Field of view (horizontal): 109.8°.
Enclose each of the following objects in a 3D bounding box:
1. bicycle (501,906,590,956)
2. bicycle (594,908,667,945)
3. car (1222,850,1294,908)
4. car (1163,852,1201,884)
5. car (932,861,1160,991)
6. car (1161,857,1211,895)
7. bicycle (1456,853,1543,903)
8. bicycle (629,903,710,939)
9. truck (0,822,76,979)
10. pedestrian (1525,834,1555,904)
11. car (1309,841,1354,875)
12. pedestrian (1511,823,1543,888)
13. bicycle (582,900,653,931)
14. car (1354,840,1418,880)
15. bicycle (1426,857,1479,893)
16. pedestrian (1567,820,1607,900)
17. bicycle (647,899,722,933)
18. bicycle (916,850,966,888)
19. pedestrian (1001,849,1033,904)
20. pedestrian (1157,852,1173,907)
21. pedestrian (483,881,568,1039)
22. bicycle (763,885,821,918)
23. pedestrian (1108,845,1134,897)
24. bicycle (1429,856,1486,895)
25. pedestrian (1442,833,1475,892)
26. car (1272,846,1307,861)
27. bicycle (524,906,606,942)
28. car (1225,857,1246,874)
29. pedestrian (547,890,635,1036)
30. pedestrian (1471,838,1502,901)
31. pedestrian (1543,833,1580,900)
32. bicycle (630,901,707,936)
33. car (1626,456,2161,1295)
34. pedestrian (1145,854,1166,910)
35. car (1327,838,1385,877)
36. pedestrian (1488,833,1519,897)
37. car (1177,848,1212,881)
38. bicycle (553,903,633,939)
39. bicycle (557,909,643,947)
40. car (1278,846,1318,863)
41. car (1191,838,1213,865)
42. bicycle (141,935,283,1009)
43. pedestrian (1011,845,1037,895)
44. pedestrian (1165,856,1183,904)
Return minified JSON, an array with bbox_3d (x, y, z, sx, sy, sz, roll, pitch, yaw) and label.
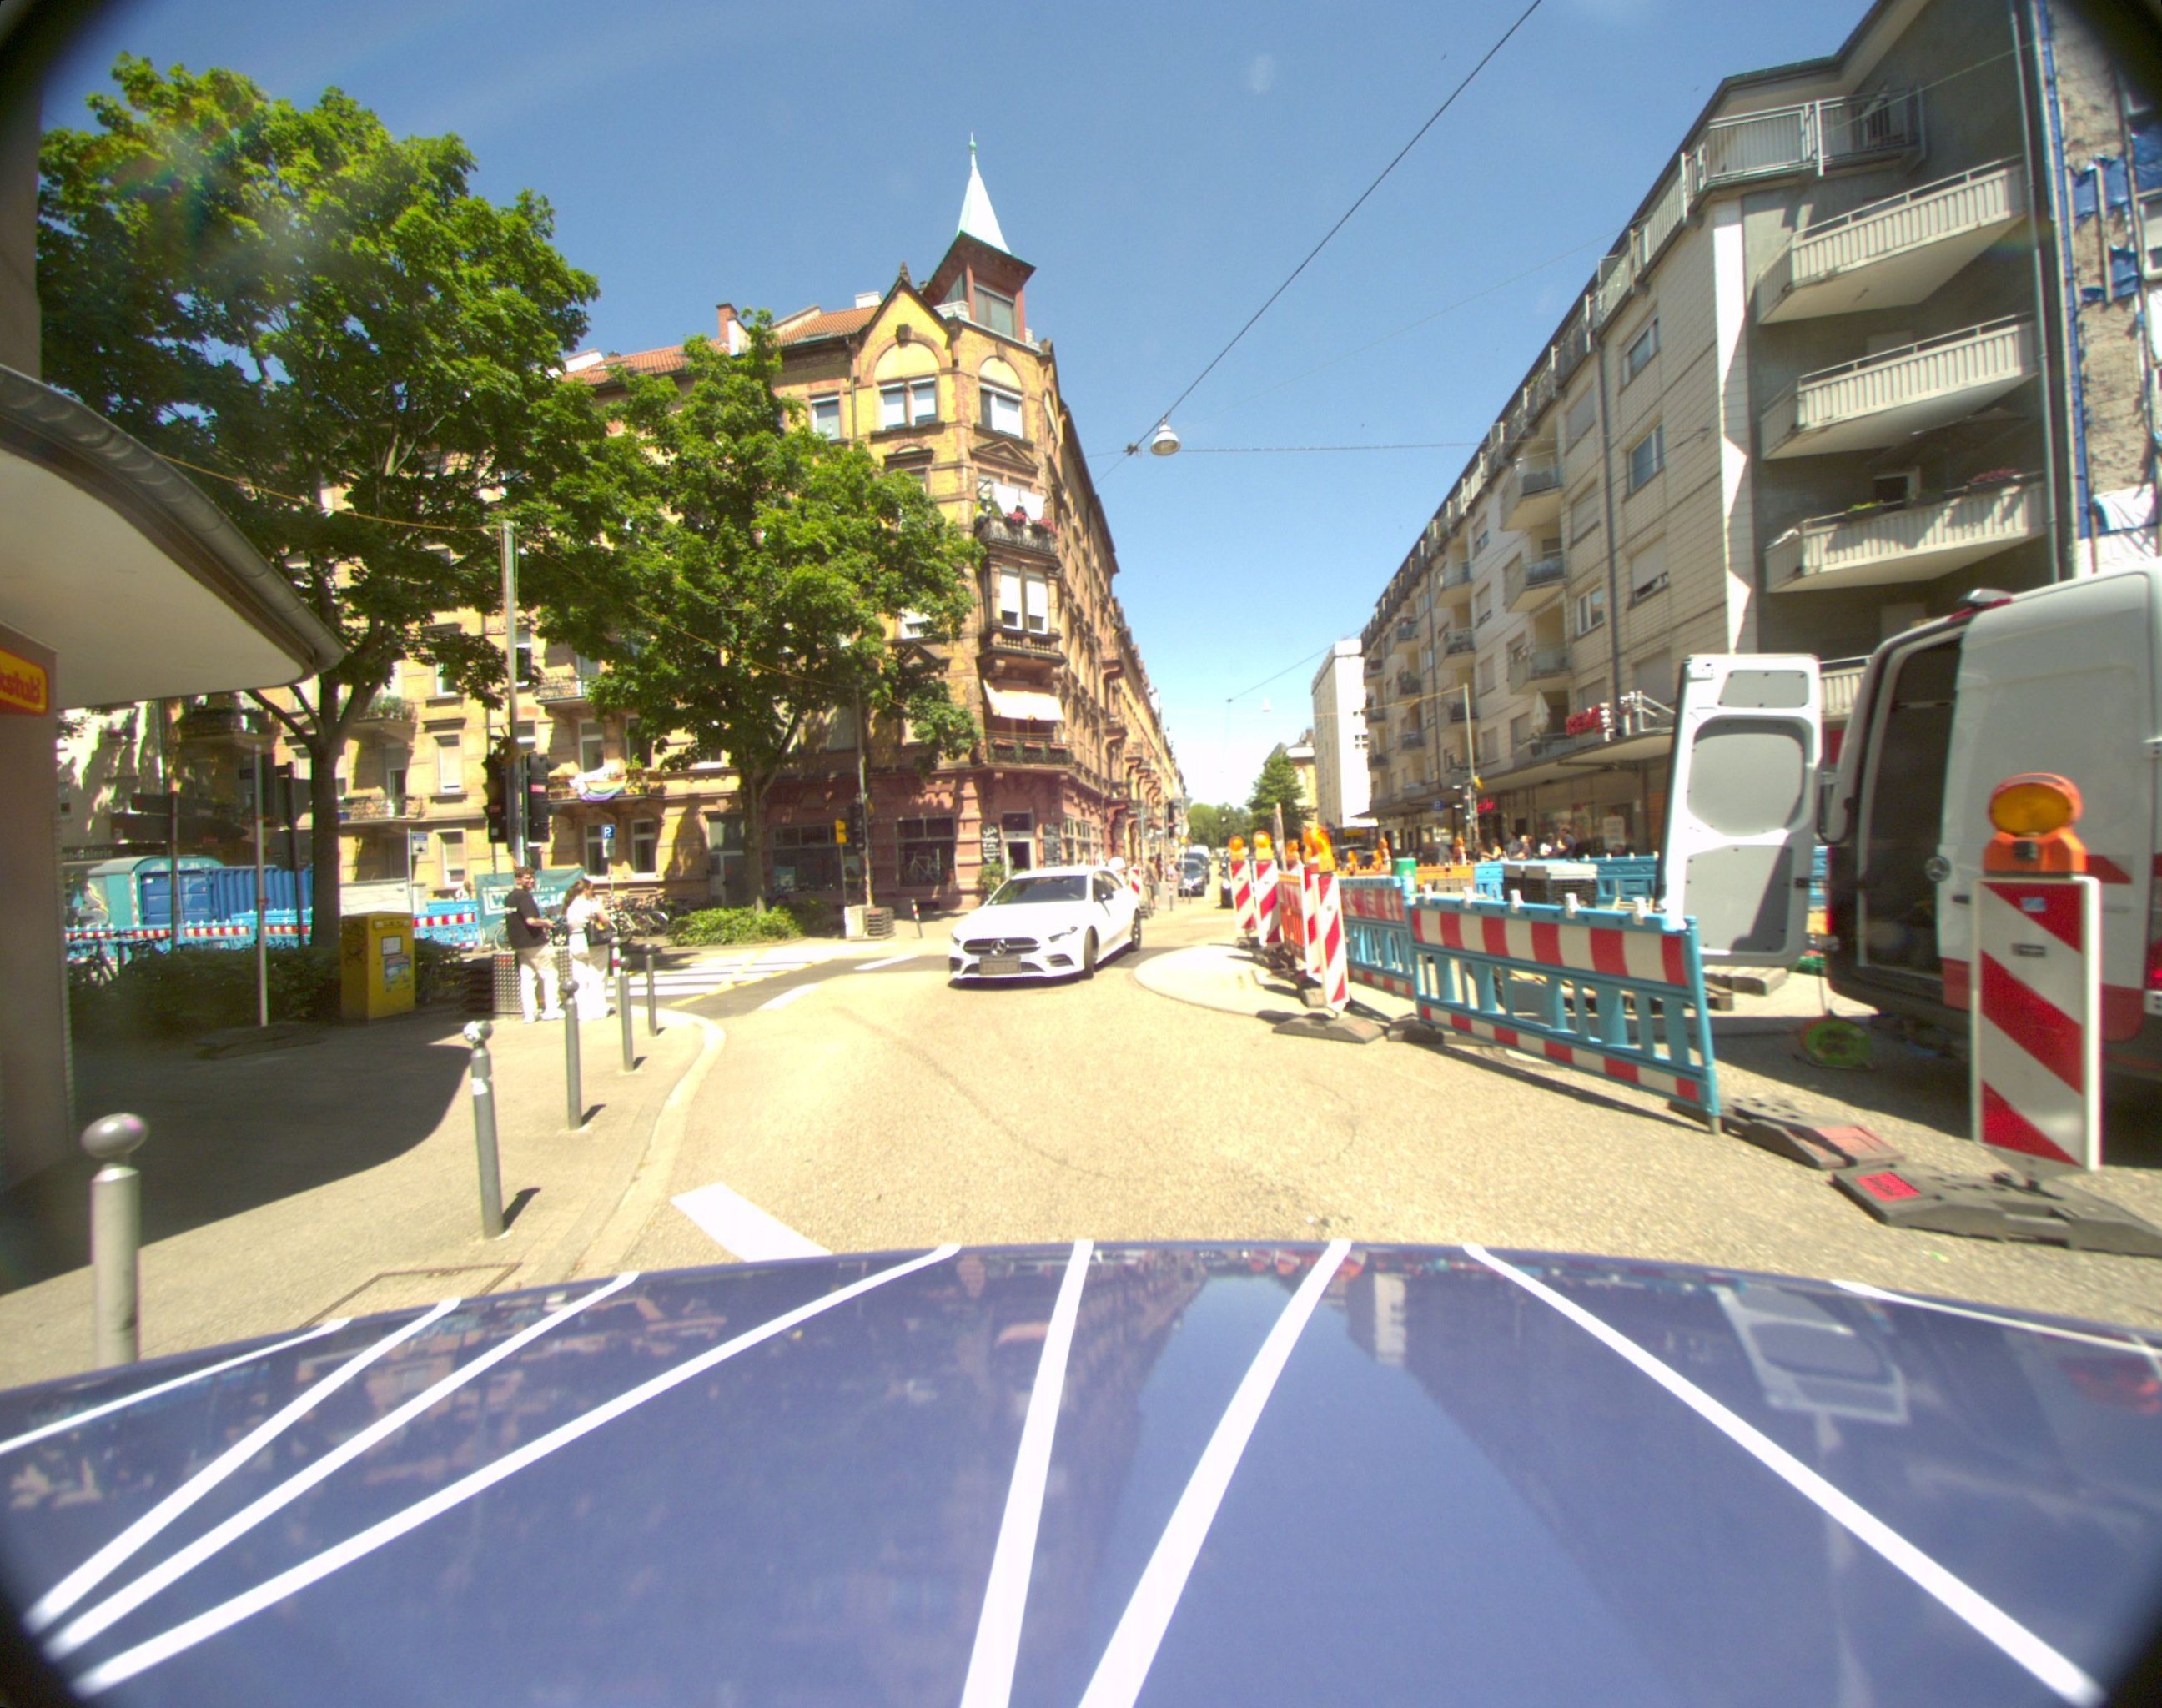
[{"bbox_3d":[-13.004,1.870,18.478,1.783,1.101,0.509,-3,2,4],"label":"bicycle"},{"bbox_3d":[-11.704,1.879,19.754,1.742,0.867,0.510,-3,0,14],"label":"bicycle"},{"bbox_3d":[5.206,0.675,22.715,1.779,1.460,4.003,-4,0,10],"label":"car"},{"bbox_3d":[5.071,0.658,37.800,1.728,1.424,4.488,-2,0,8],"label":"car"},{"bbox_3d":[-0.267,0.912,11.230,1.811,1.417,4.247,-3,0,20],"label":"car"},{"bbox_3d":[4.380,0.869,31.347,1.630,1.424,3.664,-2,0,13],"label":"car"},{"bbox_3d":[10.437,0.608,18.986,1.806,1.112,0.469,-5,-1,31],"label":"bicycle"},{"bbox_3d":[-10.997,1.782,20.306,2.071,0.867,0.510,-3,0,14],"label":"bicycle"},{"bbox_3d":[-29.319,1.265,19.567,4.470,3.931,2.290,-3,0,11],"label":"truck"},{"bbox_3d":[10.731,0.355,17.788,0.390,1.608,0.476,-3,0,8],"label":"pedestrian"},{"bbox_3d":[15.133,0.222,46.083,1.792,1.818,4.904,-4,-1,10],"label":"car"},{"bbox_3d":[12.383,0.035,21.104,0.510,1.760,0.600,-3,0,8],"label":"pedestrian"},{"bbox_3d":[-14.252,1.883,23.356,2.071,0.867,0.510,-3,0,14],"label":"bicycle"},{"bbox_3d":[13.303,0.257,33.342,1.673,1.516,4.467,-4,-1,11],"label":"car"},{"bbox_3d":[12.179,0.687,24.941,1.450,1.030,0.335,-5,0,6],"label":"bicycle"},{"bbox_3d":[11.851,0.140,17.806,0.510,1.809,0.600,-3,0,8],"label":"pedestrian"},{"bbox_3d":[-11.490,1.796,22.021,2.071,0.867,0.510,-3,0,14],"label":"bicycle"},{"bbox_3d":[-4.471,0.480,24.226,1.424,1.145,0.510,-3,0,12],"label":"bicycle"},{"bbox_3d":[-2.156,0.739,25.524,0.943,1.809,0.455,-3,3,-37],"label":"pedestrian"},{"bbox_3d":[2.565,0.770,23.247,0.333,1.665,0.402,-3,0,16],"label":"pedestrian"},{"bbox_3d":[-6.356,1.192,8.714,0.576,1.757,0.472,0,-3,2],"label":"pedestrian"},{"bbox_3d":[-9.375,1.543,24.632,1.694,1.002,0.523,-3,0,11],"label":"bicycle"},{"bbox_3d":[1.400,0.586,26.391,0.478,1.723,0.873,-3,1,29],"label":"pedestrian"},{"bbox_3d":[12.106,0.681,24.451,1.522,1.110,0.335,-5,0,6],"label":"bicycle"},{"bbox_3d":[11.213,0.246,22.580,0.657,1.716,0.633,-3,0,8],"label":"pedestrian"},{"bbox_3d":[25.513,-0.058,93.086,3.882,1.737,1.653,-3,0,10],"label":"car"},{"bbox_3d":[-13.720,1.862,20.198,2.071,0.867,0.510,-3,0,14],"label":"bicycle"},{"bbox_3d":[14.303,1.060,70.169,1.746,1.382,4.003,-3,0,12],"label":"car"},{"bbox_3d":[-5.625,1.233,8.743,0.703,1.635,0.423,0,-3,2],"label":"pedestrian"},{"bbox_3d":[10.737,0.401,20.128,0.542,1.623,0.512,-3,0,8],"label":"pedestrian"},{"bbox_3d":[12.034,0.303,19.041,0.510,1.623,0.600,-3,0,8],"label":"pedestrian"},{"bbox_3d":[-11.650,1.821,21.448,2.071,0.867,0.510,-3,0,14],"label":"bicycle"},{"bbox_3d":[6.558,-0.049,3.073,6.632,2.736,2.381,-2,1,11],"label":"car"},{"bbox_3d":[2.153,0.799,21.867,0.460,1.551,0.479,-3,0,16],"label":"pedestrian"},{"bbox_3d":[14.391,0.174,39.990,1.792,1.800,4.702,-4,-1,7],"label":"car"},{"bbox_3d":[10.598,0.285,19.057,0.496,1.556,0.460,-5,-1,36],"label":"pedestrian"},{"bbox_3d":[6.496,0.579,43.504,1.828,1.756,4.340,-2,0,8],"label":"car"},{"bbox_3d":[-13.302,1.828,20.711,2.071,0.867,0.510,-3,0,14],"label":"bicycle"},{"bbox_3d":[-12.119,1.867,19.149,2.071,0.867,0.510,-3,0,14],"label":"bicycle"},{"bbox_3d":[22.933,0.065,80.490,3.882,1.520,1.653,-3,0,10],"label":"car"},{"bbox_3d":[12.993,-0.262,81.438,2.066,2.686,5.042,-4,0,10],"label":"car"},{"bbox_3d":[-12.965,1.752,11.345,1.764,0.990,0.471,-3,-2,6],"label":"bicycle"},{"bbox_3d":[-2.019,0.552,26.817,0.725,1.709,0.495,-3,2,-35],"label":"pedestrian"},{"bbox_3d":[2.991,0.825,24.321,0.493,1.534,0.437,0,1,16],"label":"pedestrian"}]
